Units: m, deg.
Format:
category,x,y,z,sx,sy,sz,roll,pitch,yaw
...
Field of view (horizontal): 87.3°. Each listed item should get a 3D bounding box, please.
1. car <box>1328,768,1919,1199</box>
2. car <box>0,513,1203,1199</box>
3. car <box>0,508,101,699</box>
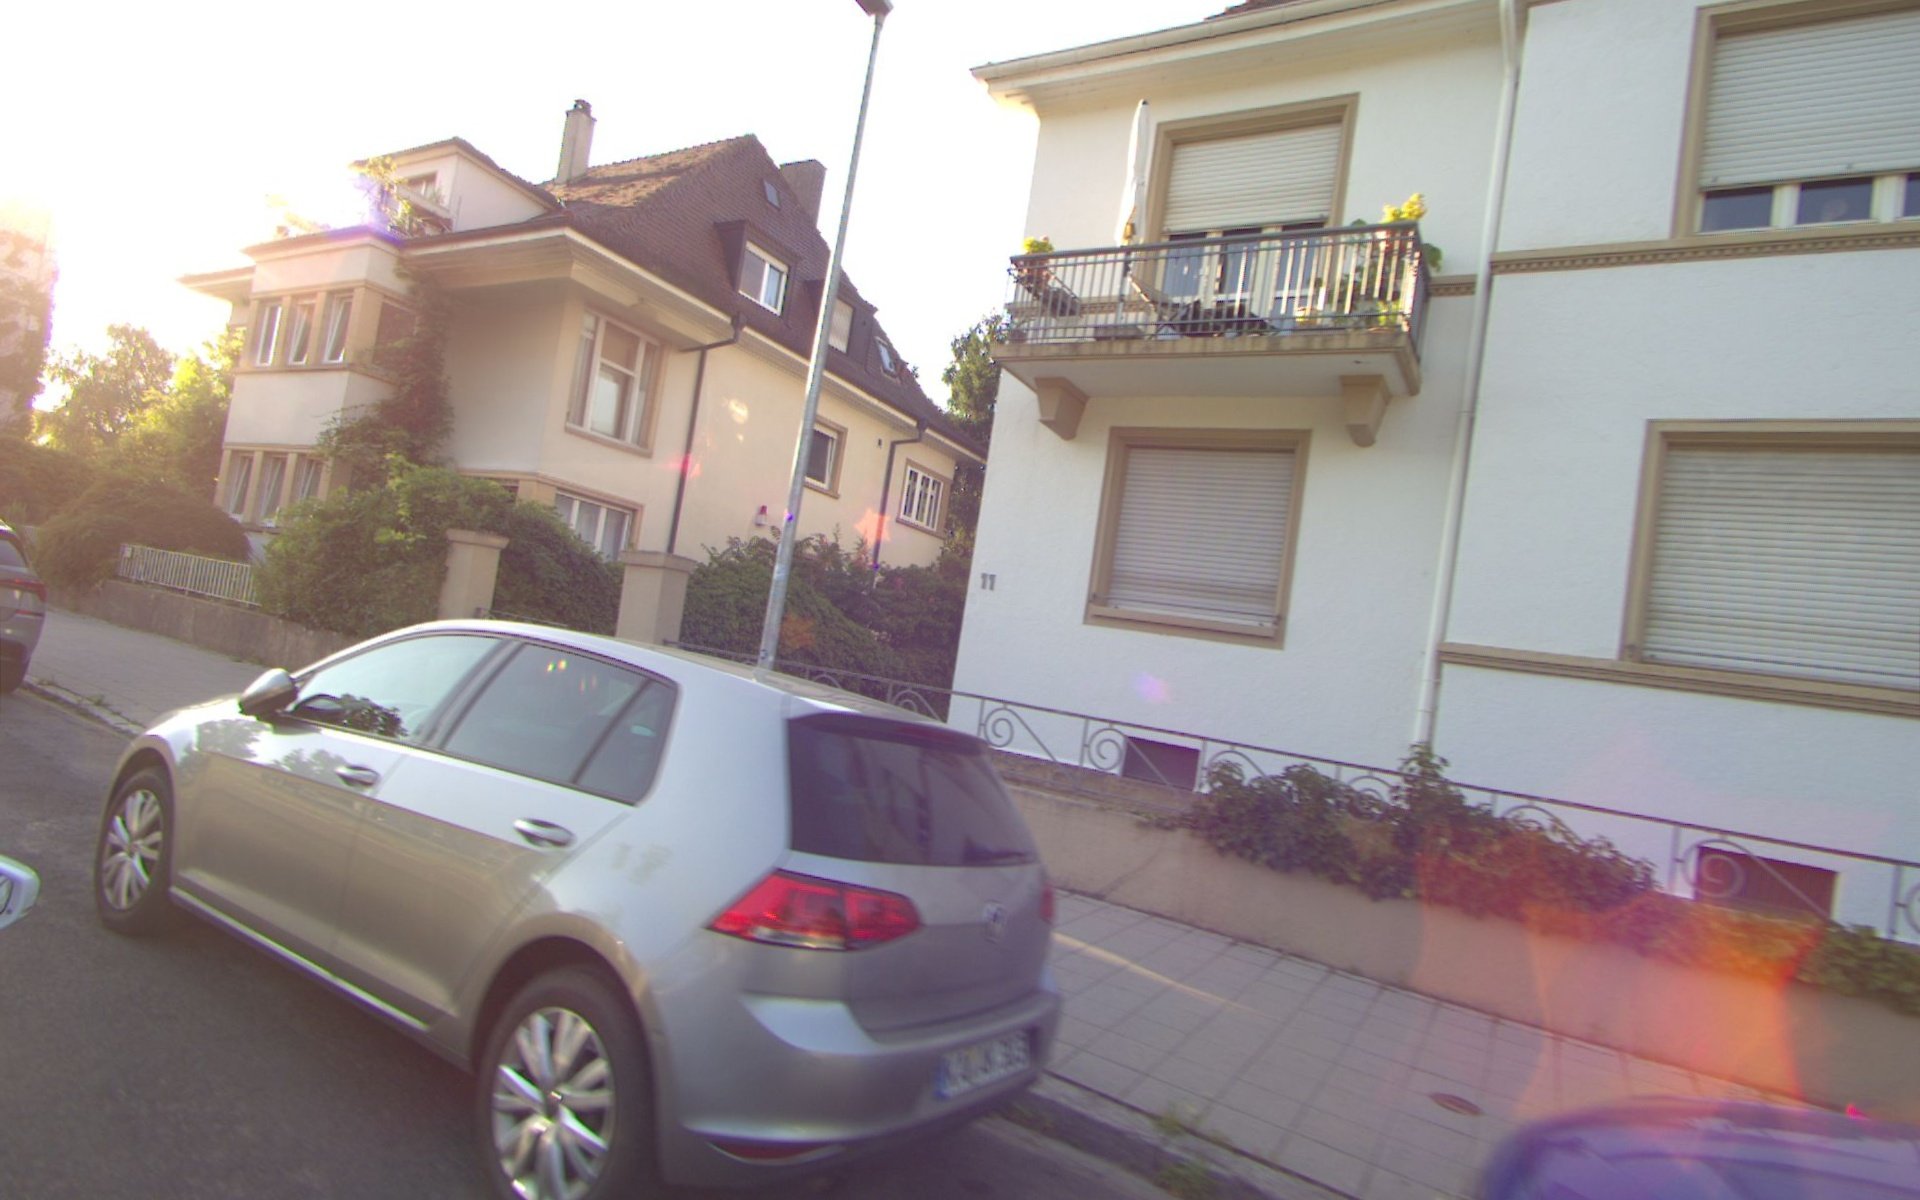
category,x,y,z,sx,sy,sz,roll,pitch,yaw
car,2.791,1.393,1.251,4.231,1.446,1.774,7,-10,30
car,-1.640,0.863,3.919,4.490,1.573,1.921,9,-7,32
car,-10.167,-0.252,9.428,4.390,1.550,1.891,6,-7,34
